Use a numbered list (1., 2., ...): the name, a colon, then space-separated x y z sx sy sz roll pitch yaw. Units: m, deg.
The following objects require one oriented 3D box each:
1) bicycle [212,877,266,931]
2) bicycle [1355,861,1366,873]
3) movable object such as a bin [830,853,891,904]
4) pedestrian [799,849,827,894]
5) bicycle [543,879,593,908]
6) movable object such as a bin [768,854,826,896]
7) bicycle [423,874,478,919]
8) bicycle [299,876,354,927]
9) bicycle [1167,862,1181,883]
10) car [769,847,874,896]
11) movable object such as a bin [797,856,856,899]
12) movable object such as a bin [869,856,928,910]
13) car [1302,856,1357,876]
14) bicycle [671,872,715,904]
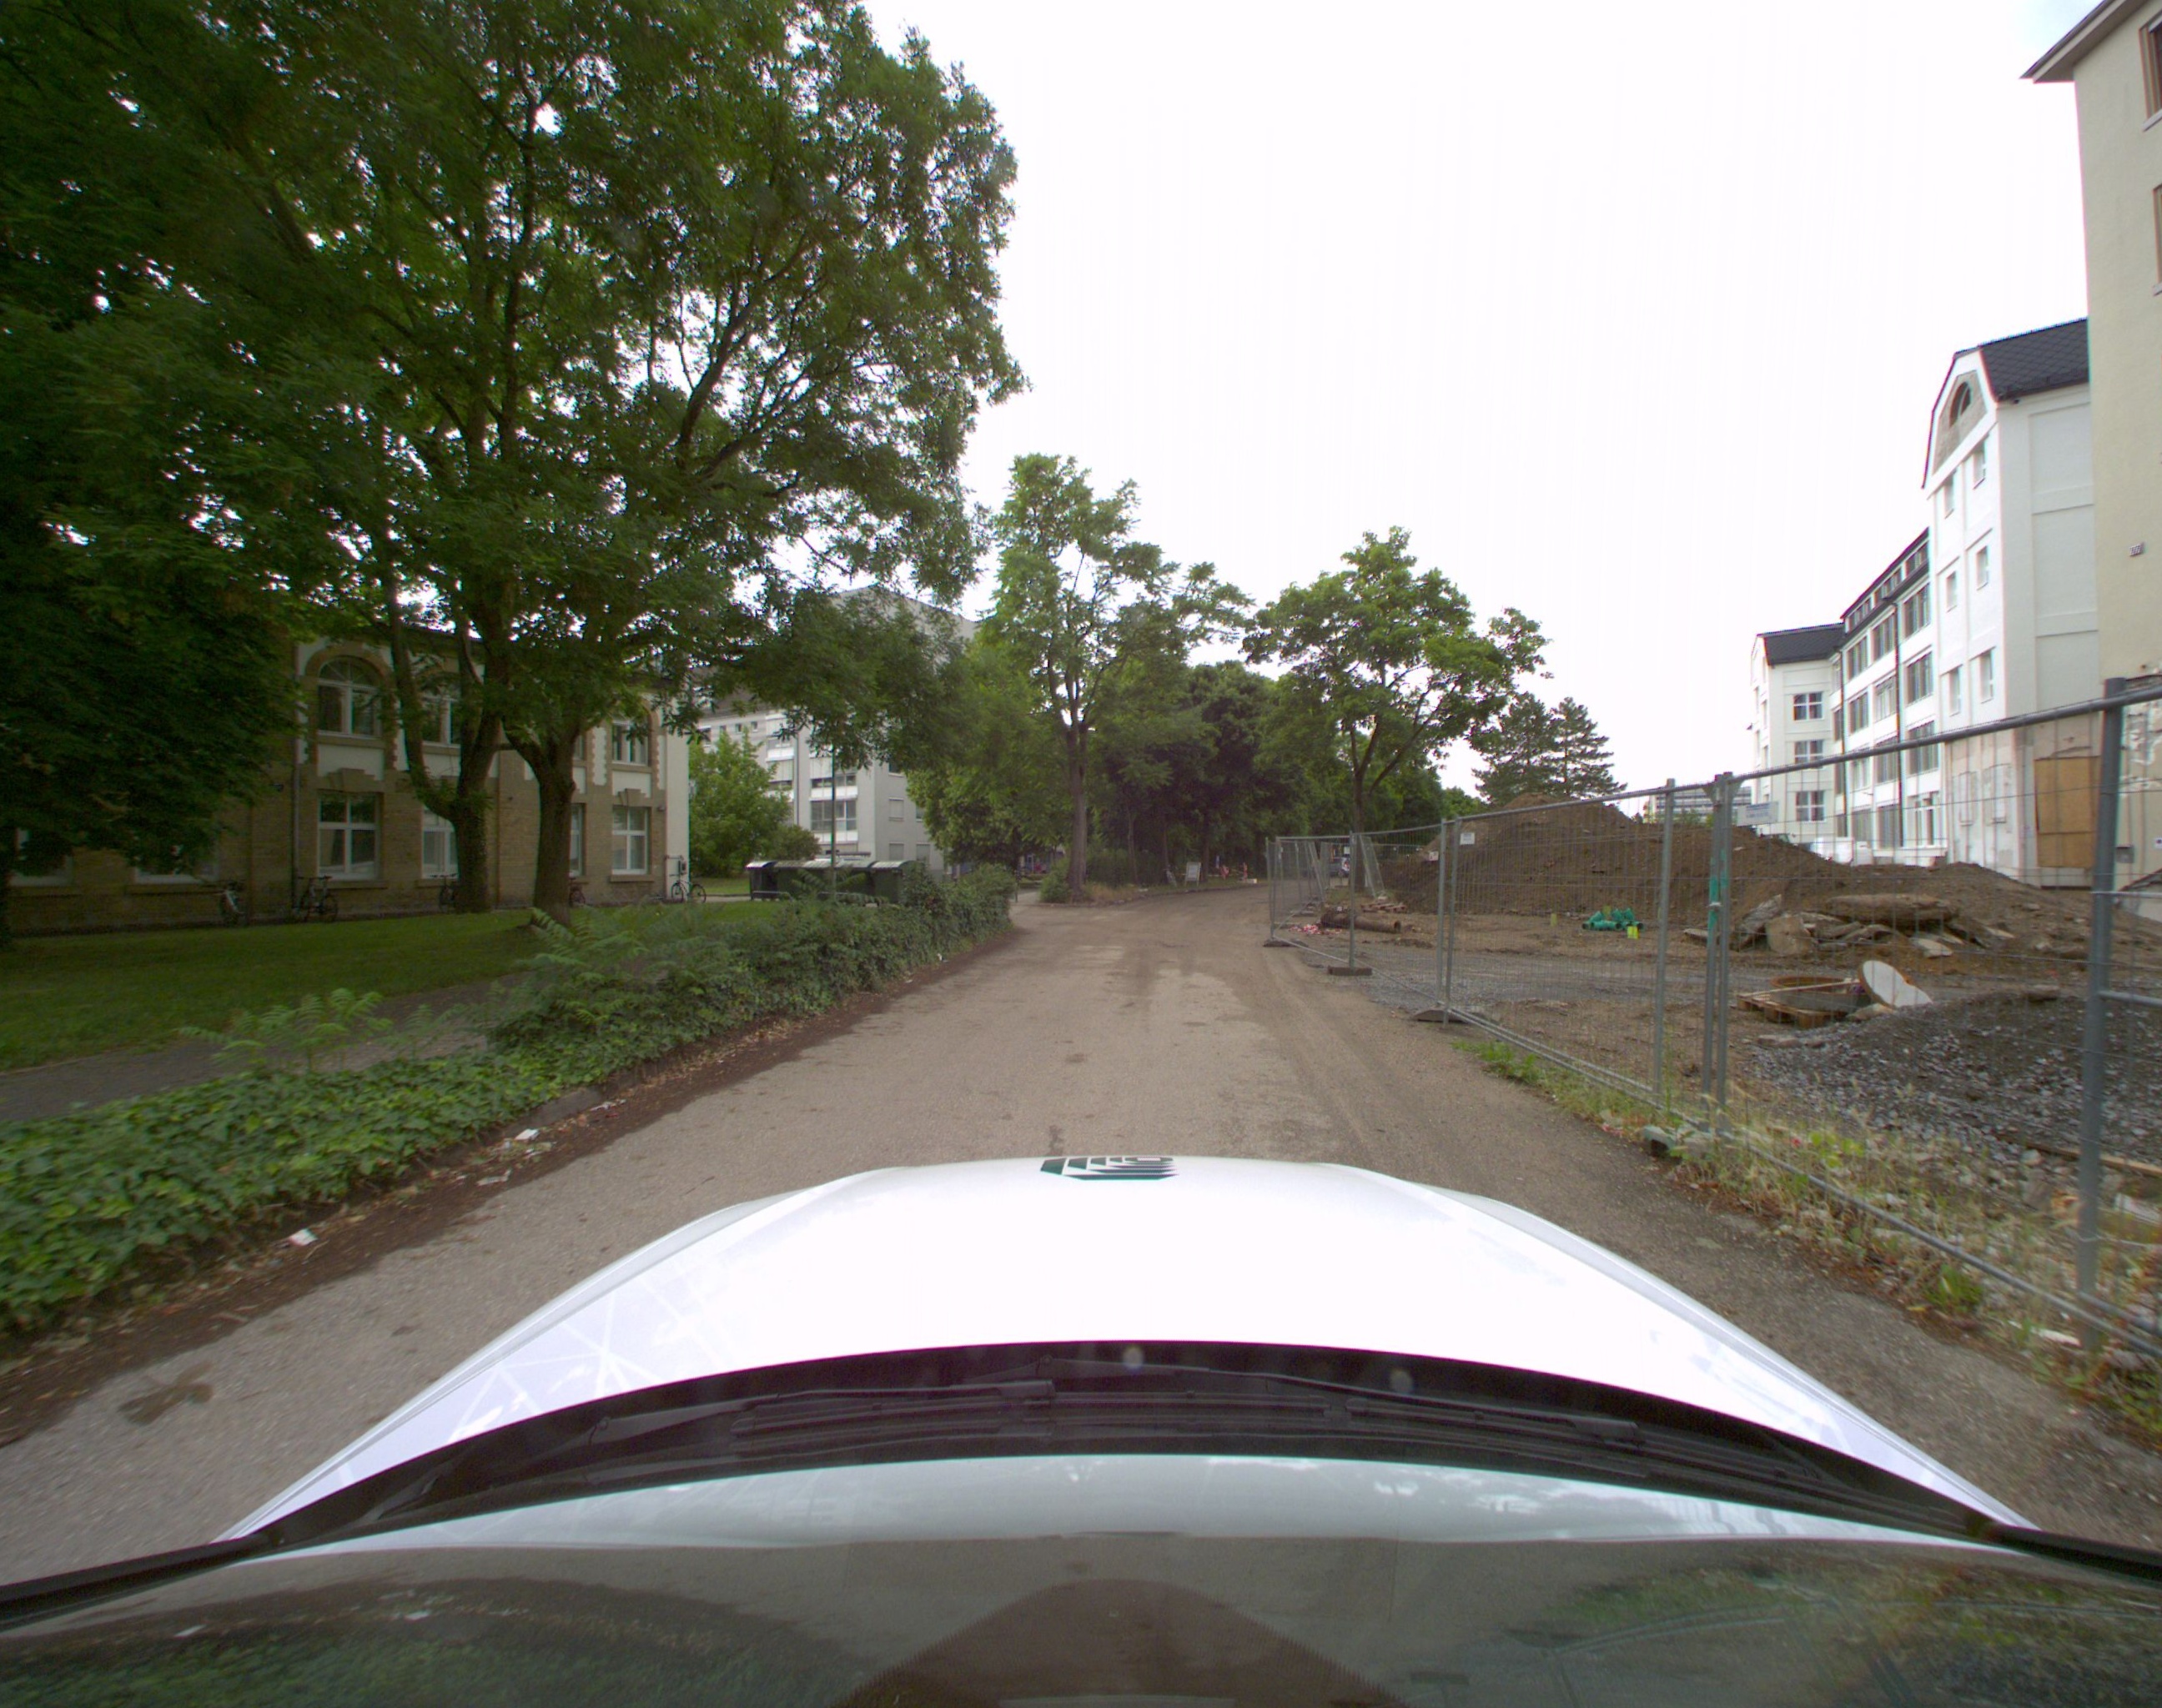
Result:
1. bicycle: -18.876 1.097 18.240 2.192 1.119 0.623 -1 0 38
2. bicycle: 24.127 1.135 70.258 0.764 0.978 2.042 0 0 21
3. movable object such as a bin: -6.501 0.700 24.012 1.337 1.456 1.062 -1 -1 27
4. pedestrian: -11.020 0.727 33.535 0.689 1.809 0.761 -3 -1 28
5. bicycle: -15.109 1.149 23.961 1.919 0.813 0.623 -1 0 38
6. movable object such as a bin: -8.930 0.645 25.613 1.337 1.265 1.062 -1 0 23
7. bicycle: -16.648 1.104 21.489 2.192 1.119 0.623 -1 0 38
8. bicycle: -17.933 1.094 19.329 2.192 1.119 0.623 -1 0 38
9. bicycle: 4.143 0.820 36.251 0.415 0.906 1.159 0 0 16
10. car: -11.437 0.761 36.230 1.831 2.014 4.378 -2 -1 28
11. movable object such as a bin: -7.756 0.693 24.820 1.337 1.265 1.062 -1 0 27
12. movable object such as a bin: -5.218 0.800 23.284 1.337 1.450 1.062 1 1 40
13. car: 18.987 0.883 62.252 3.663 1.500 1.880 -1 0 35
14. bicycle: -12.999 1.128 27.266 1.805 1.065 0.398 -1 -1 30
